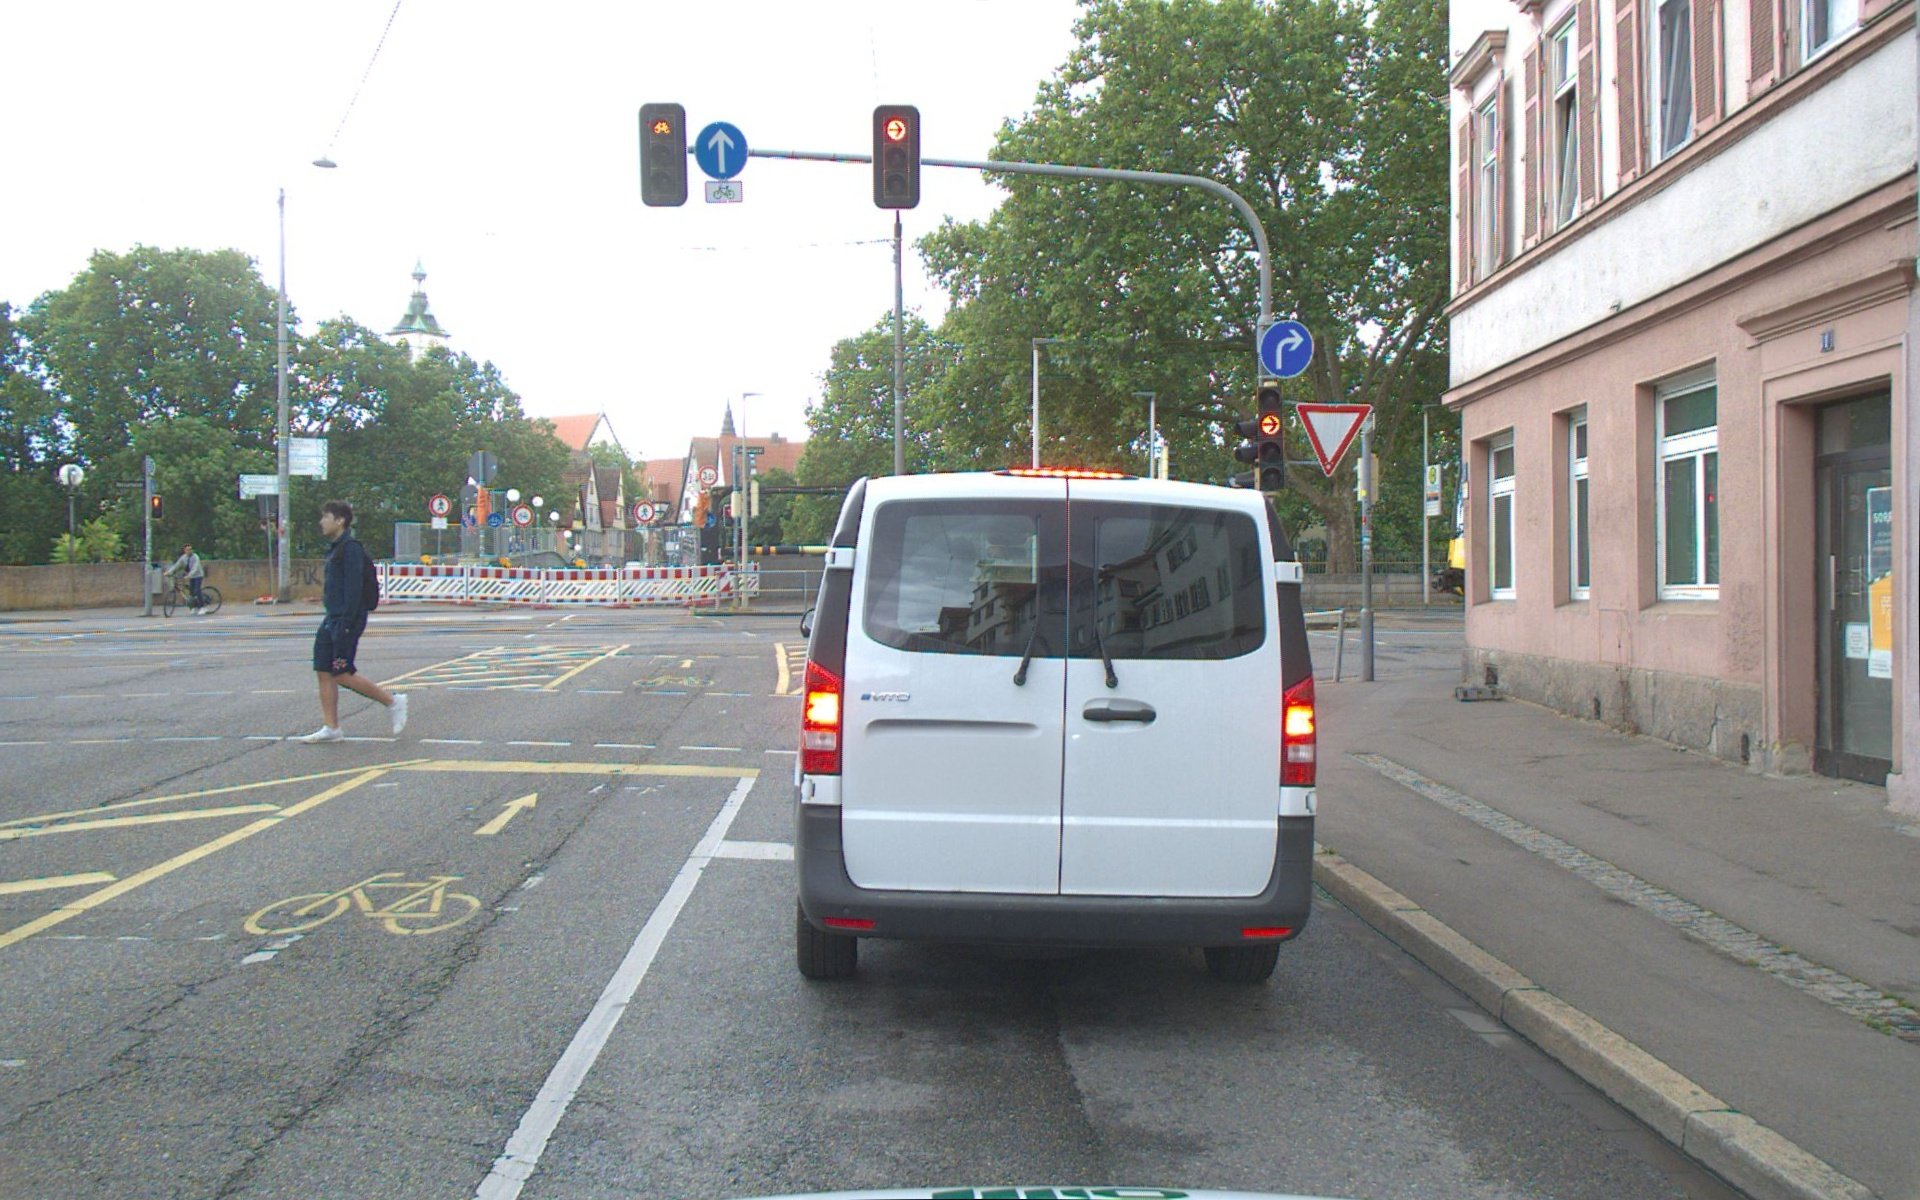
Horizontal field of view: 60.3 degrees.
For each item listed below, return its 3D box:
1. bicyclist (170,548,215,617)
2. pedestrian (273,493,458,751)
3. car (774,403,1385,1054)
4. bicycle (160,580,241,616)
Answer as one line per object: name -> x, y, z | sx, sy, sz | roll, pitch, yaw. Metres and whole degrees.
bicyclist -> -19.696, -0.447, 42.447 | 0.711, 1.730, 0.807 | 0, 0, 37
pedestrian -> -4.636, 0.152, 12.980 | 1.066, 1.919, 1.058 | 1, 1, -1
car -> 0.348, 0.351, 7.614 | 1.911, 2.048, 4.698 | 1, 2, -1
bicycle -> -19.566, -0.063, 42.629 | 0.532, 0.908, 1.872 | 0, 1, 37
